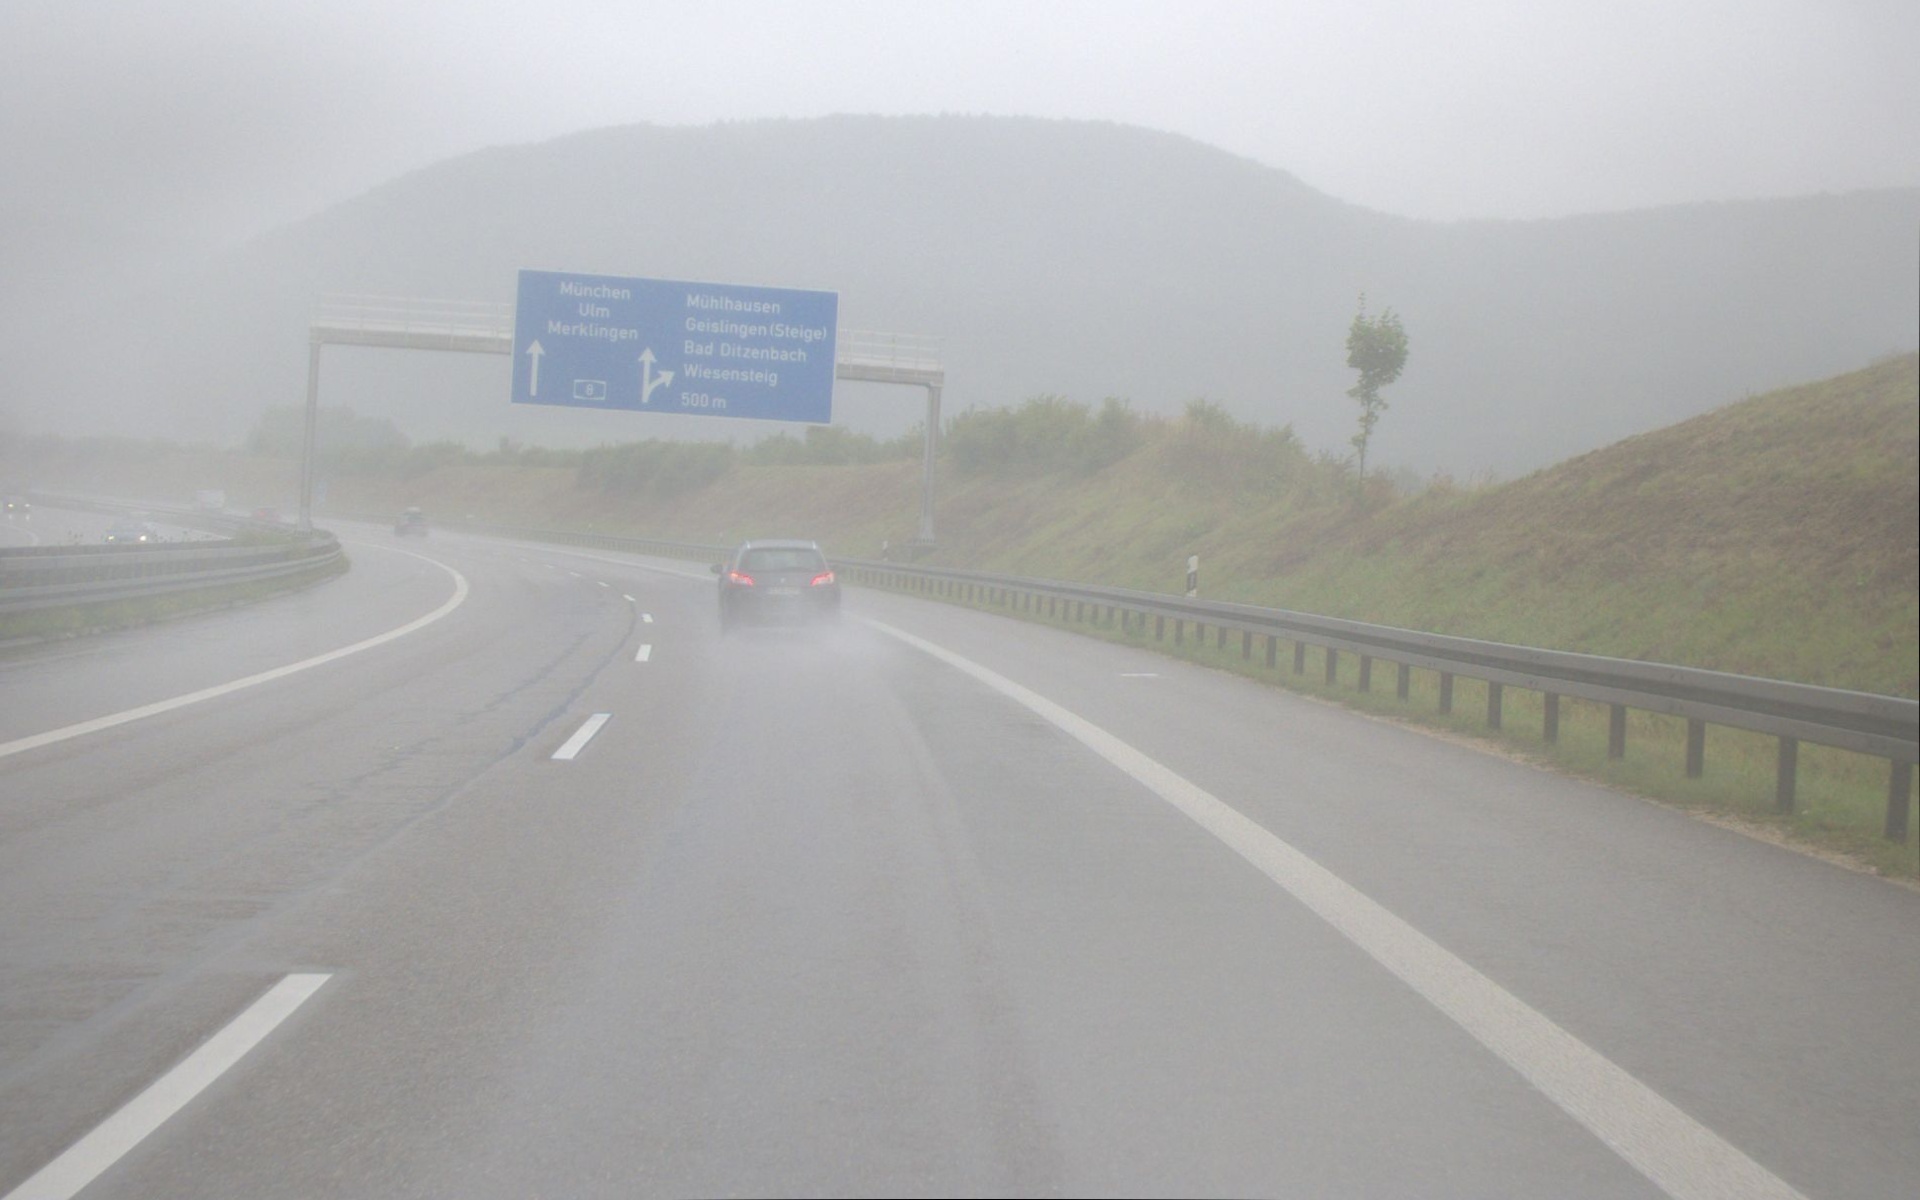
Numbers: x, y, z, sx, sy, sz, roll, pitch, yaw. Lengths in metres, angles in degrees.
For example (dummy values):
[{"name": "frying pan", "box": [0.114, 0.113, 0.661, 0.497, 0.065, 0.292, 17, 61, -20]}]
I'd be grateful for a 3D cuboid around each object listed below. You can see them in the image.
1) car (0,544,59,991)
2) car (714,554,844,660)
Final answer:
[{"name": "car", "box": [-4.420, 0.558, 9.847, 2.406, 1.510, 4.784, 2, 1, 0]}, {"name": "car", "box": [-2.763, 0.073, 51.850, 1.679, 1.467, 3.815, 2, 1, -7]}]
